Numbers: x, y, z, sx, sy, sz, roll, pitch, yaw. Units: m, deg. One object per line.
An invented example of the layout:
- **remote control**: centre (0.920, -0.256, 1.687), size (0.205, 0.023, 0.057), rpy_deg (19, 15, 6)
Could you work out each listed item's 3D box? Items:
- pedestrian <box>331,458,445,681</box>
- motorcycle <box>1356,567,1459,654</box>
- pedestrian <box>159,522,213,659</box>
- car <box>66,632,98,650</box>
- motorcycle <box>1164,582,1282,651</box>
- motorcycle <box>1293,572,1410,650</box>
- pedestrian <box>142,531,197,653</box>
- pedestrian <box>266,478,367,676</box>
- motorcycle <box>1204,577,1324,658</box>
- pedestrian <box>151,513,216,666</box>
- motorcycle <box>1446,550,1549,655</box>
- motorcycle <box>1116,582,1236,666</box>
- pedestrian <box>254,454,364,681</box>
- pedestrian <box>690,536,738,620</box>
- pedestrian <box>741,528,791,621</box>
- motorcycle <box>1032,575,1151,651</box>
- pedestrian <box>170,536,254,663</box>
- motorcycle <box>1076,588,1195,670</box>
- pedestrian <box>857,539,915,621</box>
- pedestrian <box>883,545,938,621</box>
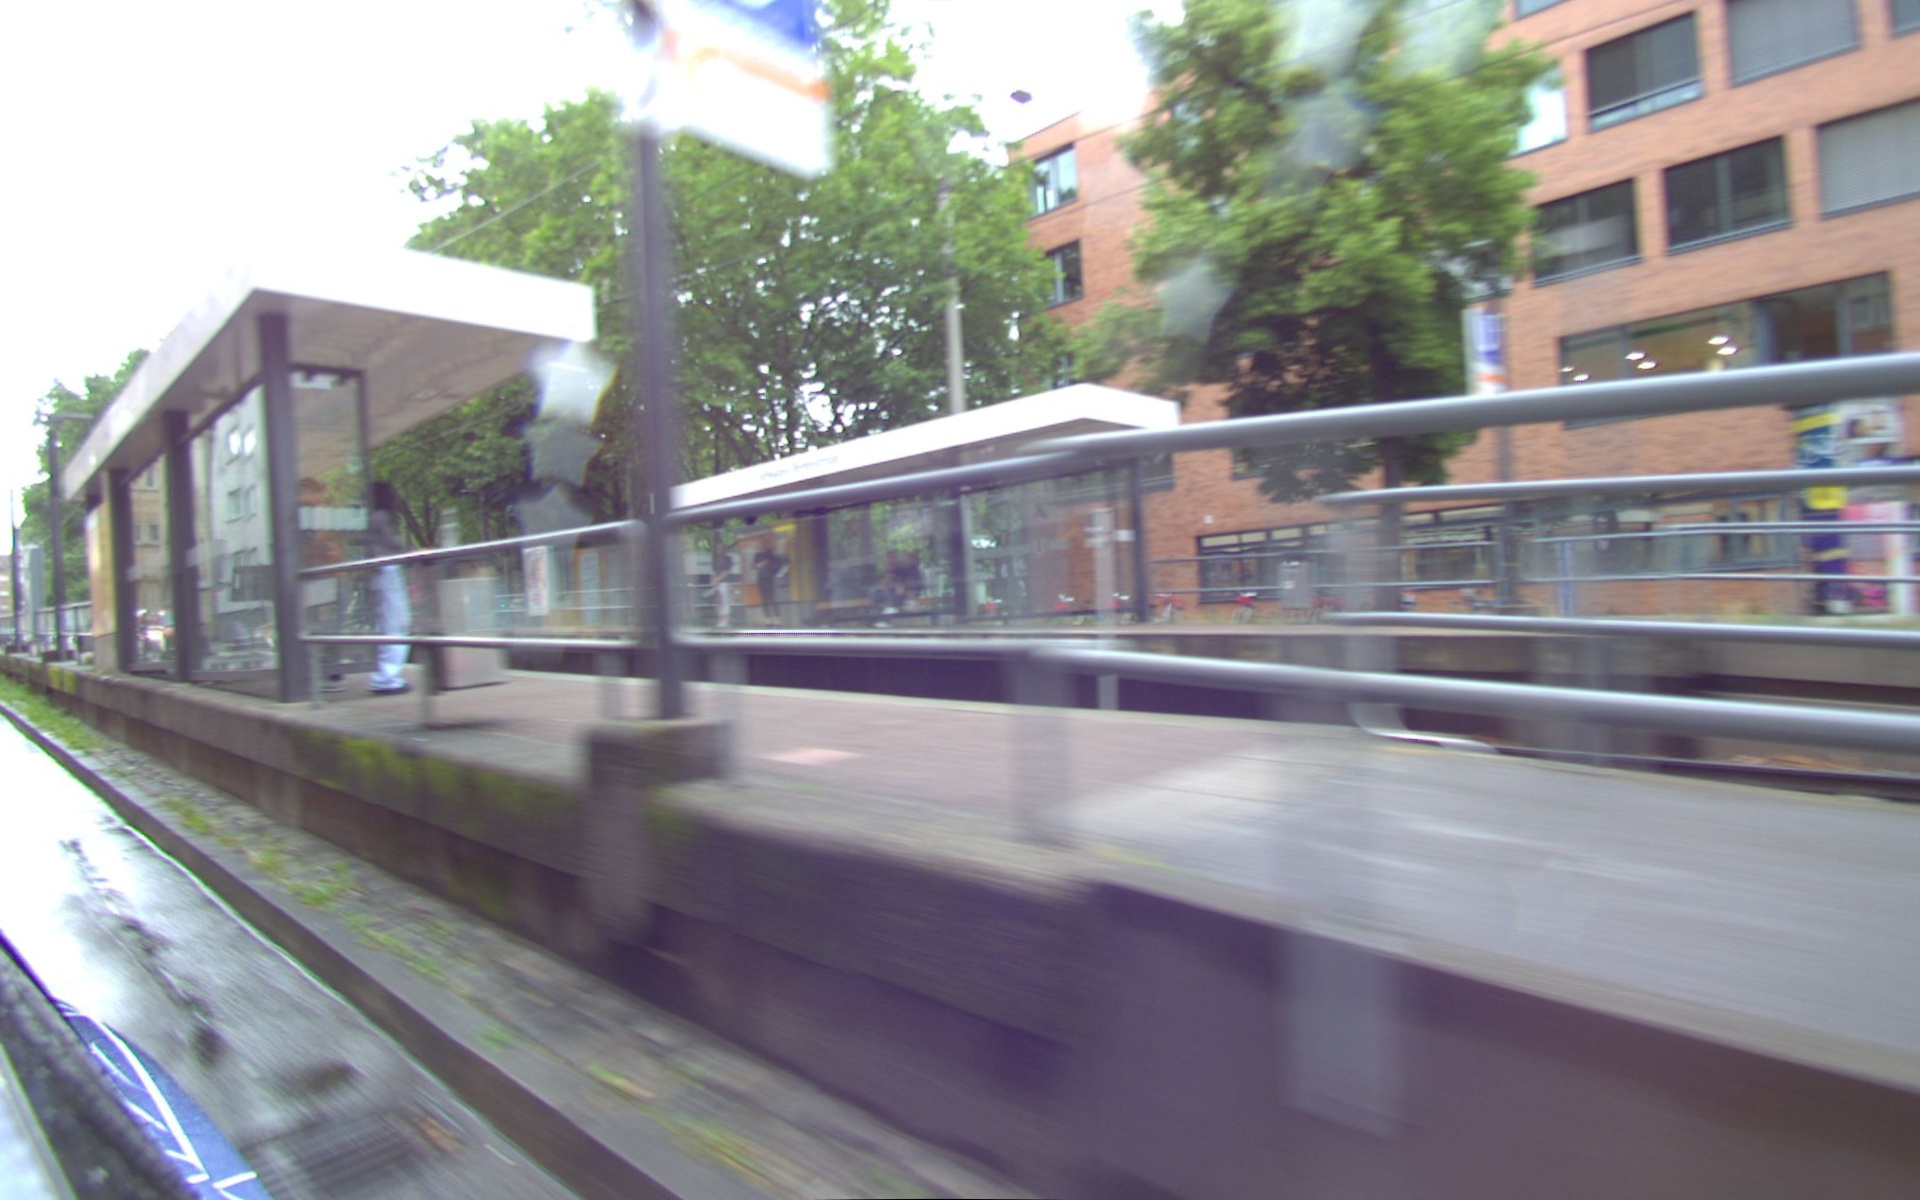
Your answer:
- **pedestrian**: centre (-4.295, -0.220, 7.598), size (0.606, 1.593, 0.507), rpy_deg (-1, 0, -43)
- **motorcycle**: centre (9.103, 0.165, 20.503), size (1.006, 1.640, 3.026), rpy_deg (-2, 0, 41)
- **pedestrian**: centre (-9.363, -0.110, 12.246), size (0.450, 1.617, 0.405), rpy_deg (-2, -1, 37)
- **car**: centre (-80.515, 3.751, 92.822), size (3.808, 1.488, 1.866), rpy_deg (-2, 0, 44)
- **motorcycle**: centre (6.143, 0.337, 23.398), size (1.006, 1.417, 3.823), rpy_deg (-2, 0, 41)
- **motorcycle**: centre (8.324, 0.178, 21.356), size (1.006, 1.499, 3.823), rpy_deg (-2, 0, 41)
- **pedestrian**: centre (-10.762, -0.106, 13.798), size (0.489, 1.617, 0.639), rpy_deg (-1, -1, -30)
- **pedestrian**: centre (-5.421, -0.184, 8.531), size (0.606, 1.593, 0.507), rpy_deg (-1, 0, -43)
- **motorcycle**: centre (6.769, 0.334, 22.310), size (1.006, 1.617, 3.823), rpy_deg (-2, 0, 41)
- **pedestrian**: centre (-8.393, -0.112, 10.952), size (0.499, 1.601, 0.529), rpy_deg (-1, 0, -34)
- **motorcycle**: centre (10.165, 0.015, 19.065), size (0.993, 1.829, 3.004), rpy_deg (-2, 0, 41)
- **motorcycle**: centre (5.238, 0.512, 24.226), size (1.006, 1.829, 3.823), rpy_deg (-2, 0, 41)
- **pedestrian**: centre (-5.142, -0.245, 7.992), size (0.606, 1.701, 0.588), rpy_deg (-1, 0, -43)
- **pedestrian**: centre (-4.962, -0.447, 20.405), size (0.564, 1.653, 0.679), rpy_deg (-3, 0, 41)
- **pedestrian**: centre (-3.718, -0.478, 19.398), size (0.705, 1.728, 0.556), rpy_deg (-3, 0, 41)
- **motorcycle**: centre (3.441, 0.289, 25.977), size (1.006, 1.787, 3.823), rpy_deg (-2, 0, 41)
- **pedestrian**: centre (-7.554, -0.007, 10.220), size (0.606, 1.236, 0.507), rpy_deg (-1, 0, -43)
- **motorcycle**: centre (4.407, 0.652, 25.013), size (1.006, 1.829, 3.823), rpy_deg (-2, 0, 41)
- **pedestrian**: centre (-1.281, -0.352, 17.581), size (0.564, 1.373, 0.769), rpy_deg (-3, 0, 41)
- **pedestrian**: centre (-0.840, -0.290, 17.154), size (0.564, 1.249, 0.696), rpy_deg (-3, 0, 41)
